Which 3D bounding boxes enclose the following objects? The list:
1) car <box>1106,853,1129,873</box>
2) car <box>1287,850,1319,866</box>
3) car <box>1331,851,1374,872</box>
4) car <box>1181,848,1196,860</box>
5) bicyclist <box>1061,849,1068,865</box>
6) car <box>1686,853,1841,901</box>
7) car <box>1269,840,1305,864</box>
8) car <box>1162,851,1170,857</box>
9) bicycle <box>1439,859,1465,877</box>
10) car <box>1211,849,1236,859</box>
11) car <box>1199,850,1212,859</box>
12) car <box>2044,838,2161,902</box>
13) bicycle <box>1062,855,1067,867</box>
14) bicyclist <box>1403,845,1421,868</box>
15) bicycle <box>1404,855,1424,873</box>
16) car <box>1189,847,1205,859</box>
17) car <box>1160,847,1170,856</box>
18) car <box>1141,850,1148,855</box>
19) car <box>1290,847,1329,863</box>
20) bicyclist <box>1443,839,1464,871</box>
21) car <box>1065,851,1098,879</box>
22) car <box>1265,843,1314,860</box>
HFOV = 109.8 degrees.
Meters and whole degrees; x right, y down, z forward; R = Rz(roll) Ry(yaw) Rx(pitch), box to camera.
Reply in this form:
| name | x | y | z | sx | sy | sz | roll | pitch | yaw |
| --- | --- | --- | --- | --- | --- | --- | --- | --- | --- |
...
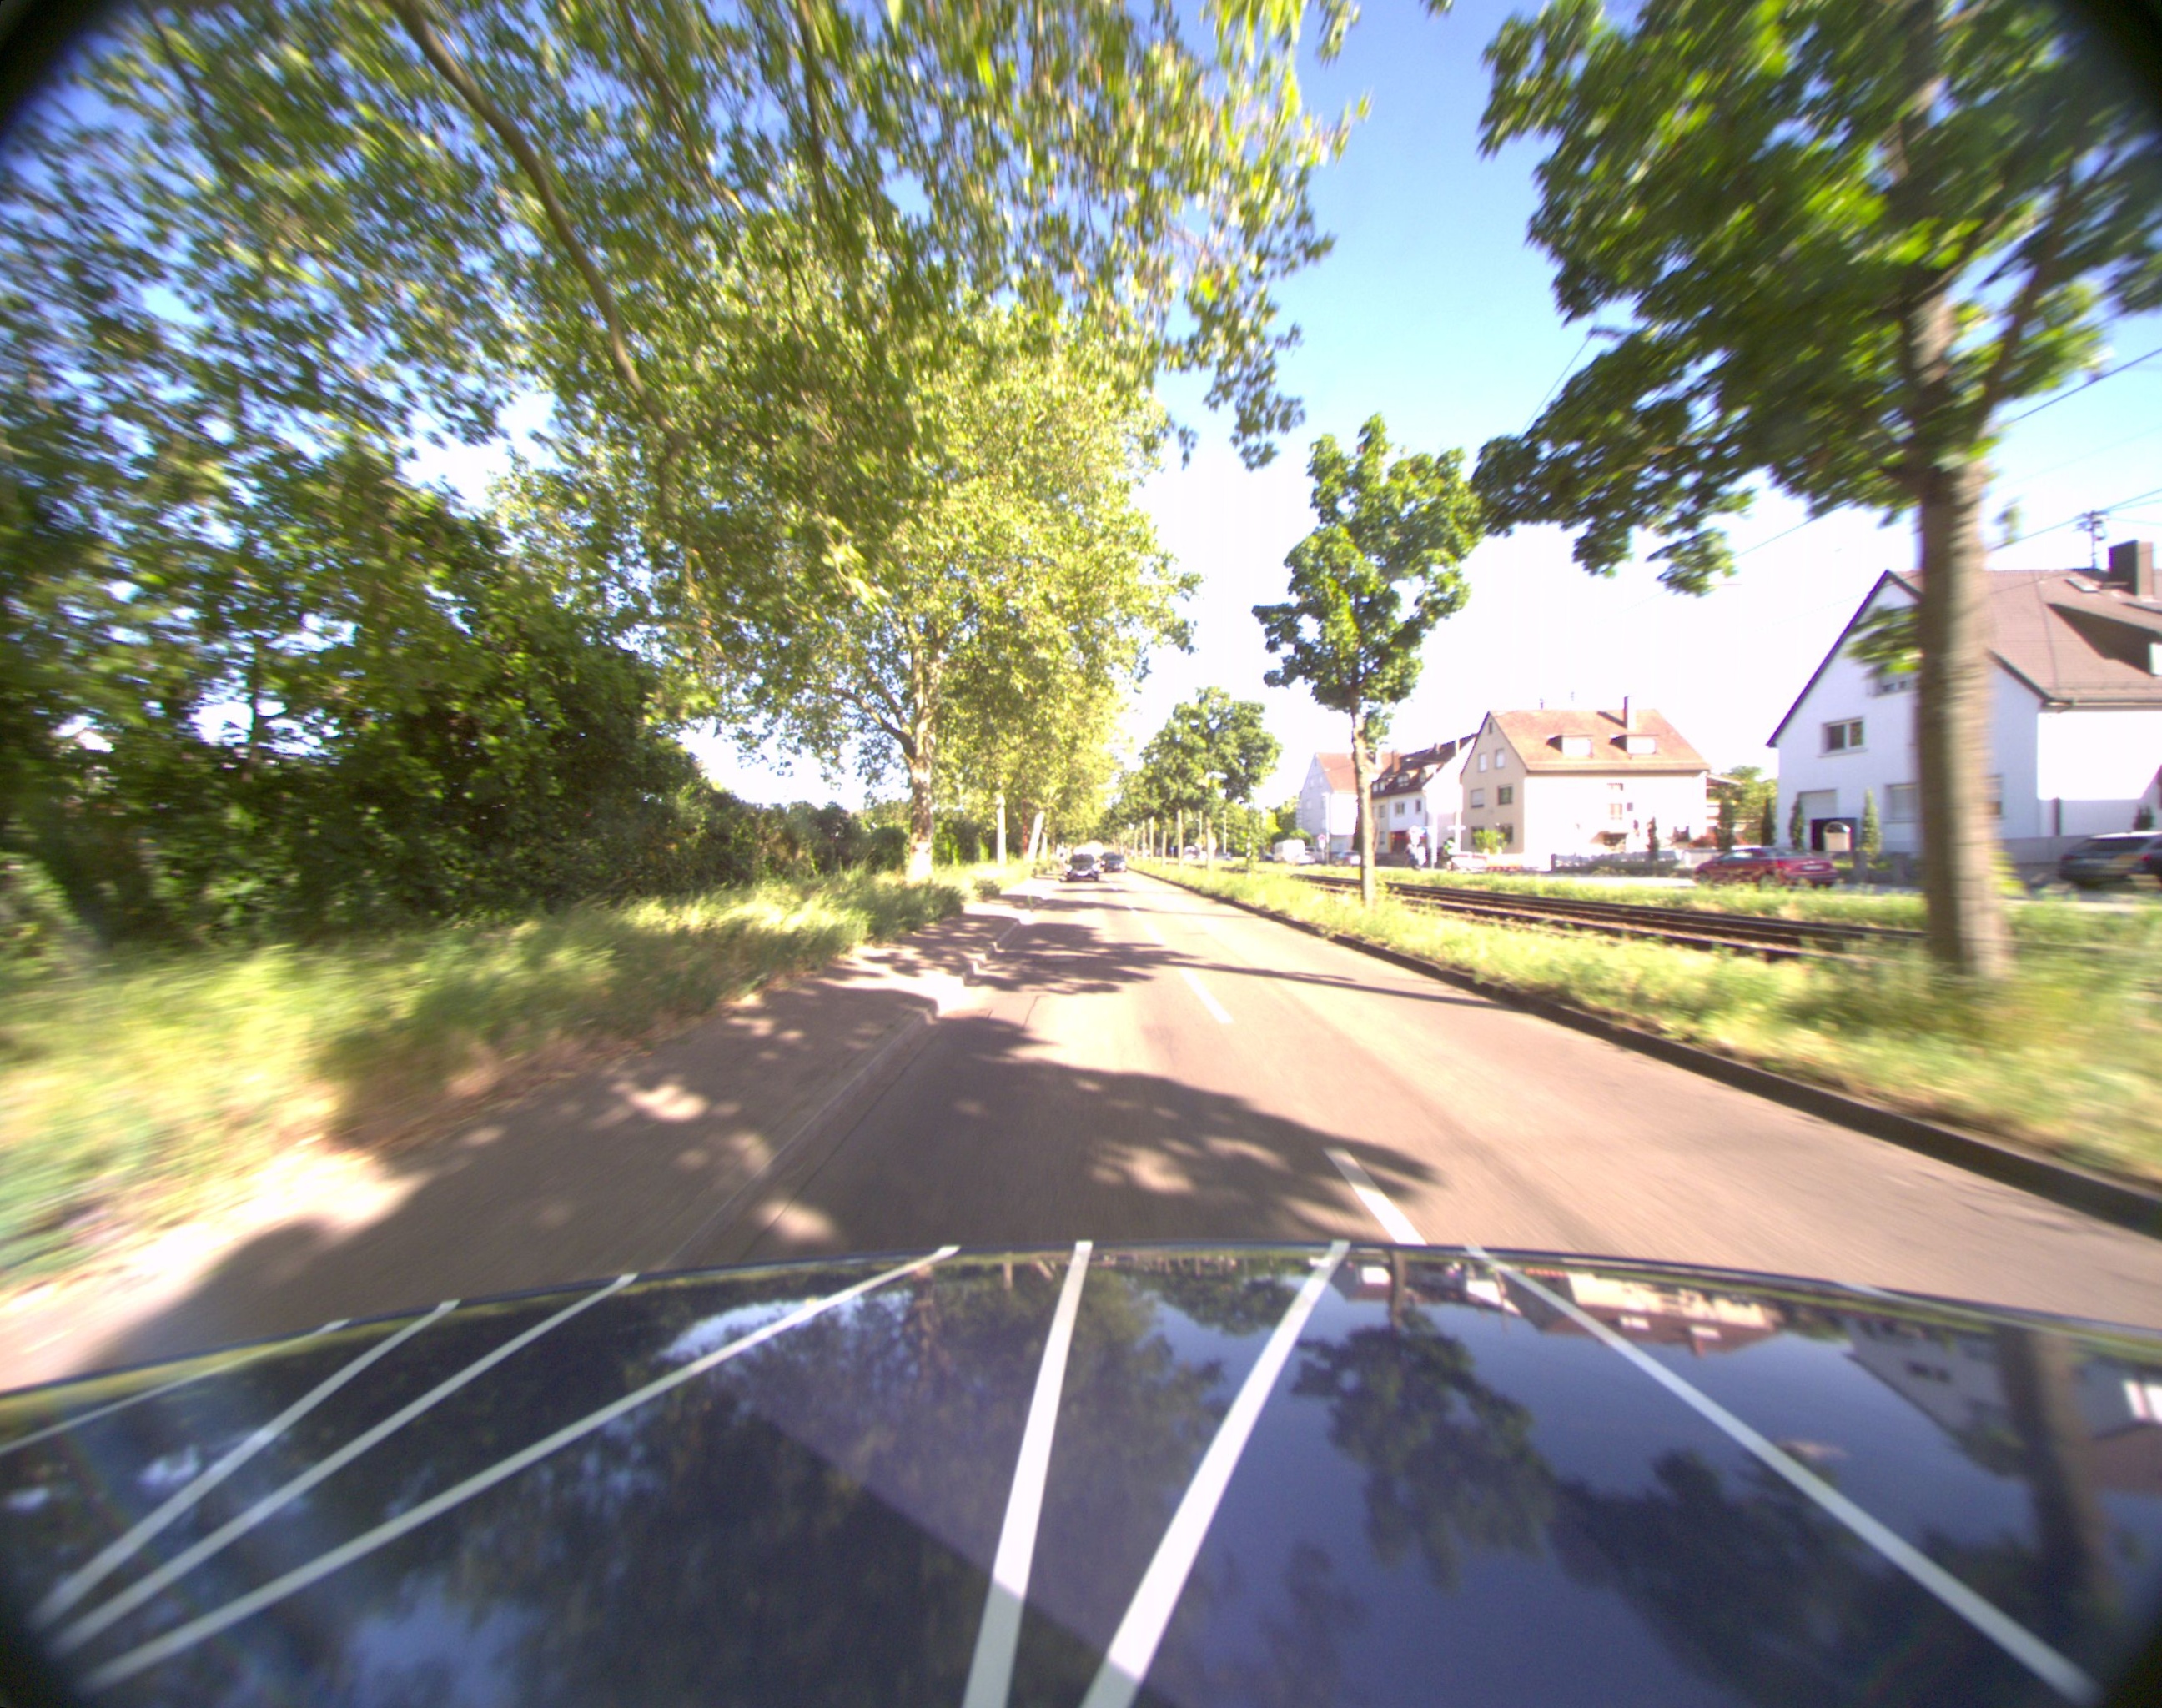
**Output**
| name | x | y | z | sx | sy | sz | roll | pitch | yaw |
| --- | --- | --- | --- | --- | --- | --- | --- | --- | --- |
| car | 2.895 | 0.721 | 60.827 | 1.714 | 1.478 | 3.546 | -2 | 1 | 2 |
| car | 22.209 | 0.385 | 76.278 | 1.829 | 1.404 | 4.657 | -2 | 1 | 0 |
| car | 22.176 | 0.596 | 62.308 | 1.998 | 1.572 | 4.498 | -2 | 0 | 1 |
| car | 17.974 | -0.015 | 127.591 | 1.920 | 1.872 | 4.523 | -2 | 1 | 2 |
| bicyclist | -1.679 | 0.339 | 78.134 | 0.615 | 1.619 | 0.909 | -1 | 1 | 1 |
| car | 21.707 | 0.678 | 24.396 | 1.497 | 1.318 | 4.000 | -2 | 1 | 2 |
| car | 22.165 | -0.247 | 82.111 | 1.998 | 2.445 | 6.673 | -2 | 1 | 0 |
| car | 23.712 | 0.071 | 211.296 | 1.626 | 1.613 | 4.532 | -2 | 1 | 0 |
| bicycle | 19.528 | 0.718 | 40.055 | 0.399 | 0.922 | 2.096 | -1 | 0 | 1 |
| car | 22.730 | -0.029 | 121.427 | 3.617 | 1.469 | 1.753 | -1 | 1 | 22 |
| car | 22.948 | 0.104 | 140.160 | 1.827 | 1.598 | 4.773 | -2 | 1 | 1 |
| car | 27.511 | 0.347 | 19.150 | 4.225 | 1.455 | 1.937 | -2 | 1 | -3 |
| bicycle | -1.678 | 0.707 | 78.135 | 0.441 | 1.146 | 1.823 | -1 | 1 | 0 |
| bicyclist | 19.522 | 0.121 | 44.777 | 0.690 | 1.329 | 0.881 | -1 | 1 | 2 |
| bicycle | 19.567 | 0.576 | 44.695 | 0.399 | 1.064 | 1.879 | -1 | 0 | 1 |
| car | 23.413 | -0.268 | 153.570 | 2.188 | 2.362 | 6.464 | -2 | 1 | 1 |
| car | 24.129 | -0.767 | 218.831 | 2.231 | 2.565 | 6.799 | -2 | 0 | 1 |
| car | 18.627 | -0.526 | 223.785 | 1.680 | 1.401 | 4.000 | -1 | 0 | 0 |
| car | 27.912 | 0.098 | 92.882 | 4.151 | 1.941 | 1.998 | -1 | 1 | -10 |
| bicyclist | 19.529 | 0.031 | 39.820 | 0.690 | 1.643 | 0.881 | -1 | 1 | 0 |
| car | 0.028 | 0.606 | 43.480 | 1.808 | 1.478 | 3.546 | -2 | 1 | 0 |
| car | 33.542 | -0.419 | 122.276 | 7.086 | 2.493 | 2.329 | -2 | 0 | -5 |
